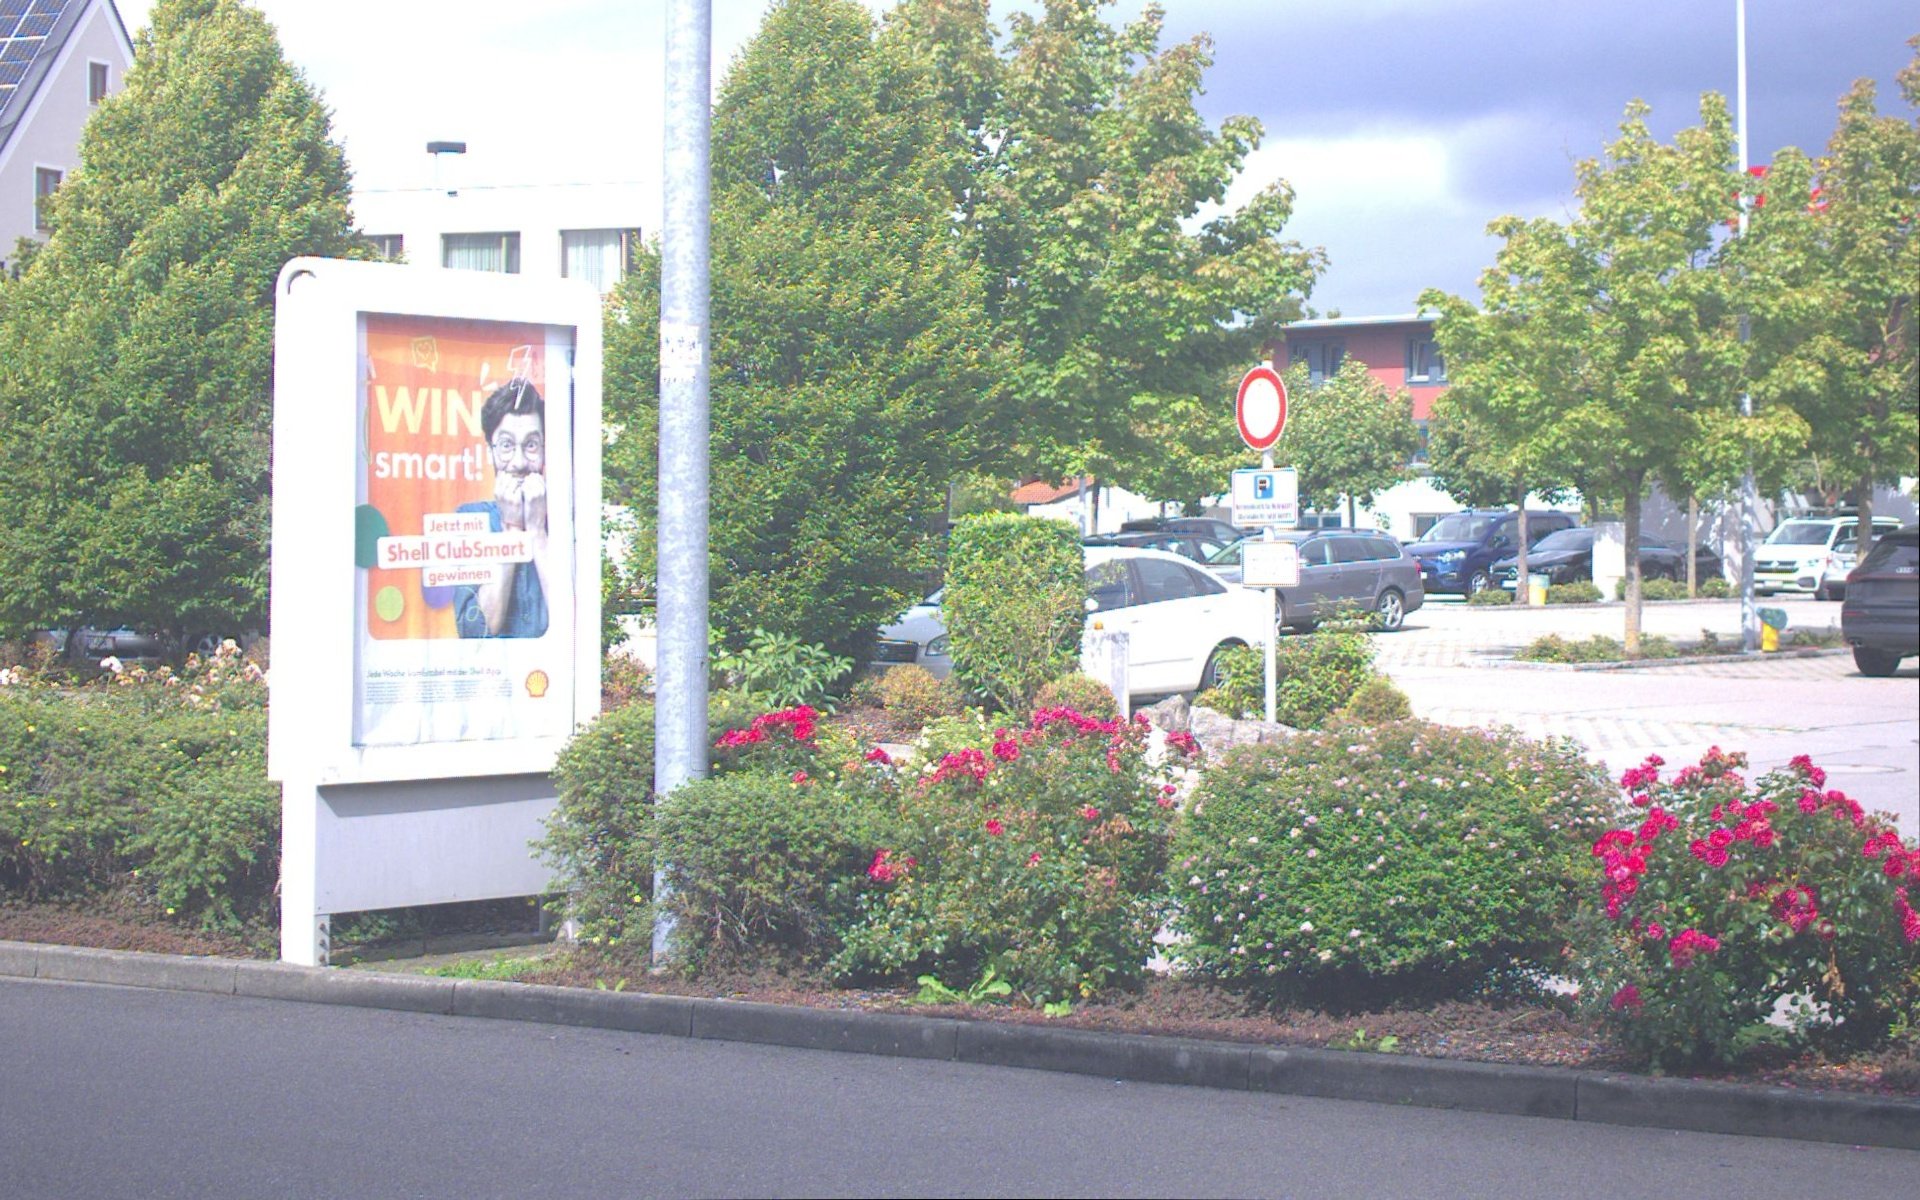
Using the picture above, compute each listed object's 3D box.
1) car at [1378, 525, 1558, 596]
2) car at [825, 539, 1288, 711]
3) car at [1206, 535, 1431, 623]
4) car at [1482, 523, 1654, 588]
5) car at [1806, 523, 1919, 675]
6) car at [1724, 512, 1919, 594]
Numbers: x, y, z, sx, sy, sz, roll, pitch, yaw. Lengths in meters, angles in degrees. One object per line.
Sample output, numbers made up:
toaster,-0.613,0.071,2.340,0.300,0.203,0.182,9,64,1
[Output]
car,9.891,-0.762,66.786,3.379,1.316,1.747,0,1,-44
car,0.907,0.201,29.929,4.332,1.399,1.370,0,1,-44
car,5.206,-0.293,49.719,3.218,1.224,1.505,0,1,-44
car,11.519,-0.843,65.037,3.409,1.174,1.485,0,1,-44
car,11.136,-0.009,36.732,4.491,1.543,1.885,0,1,-43
car,20.253,-1.091,80.643,4.864,1.827,2.184,0,1,-43
